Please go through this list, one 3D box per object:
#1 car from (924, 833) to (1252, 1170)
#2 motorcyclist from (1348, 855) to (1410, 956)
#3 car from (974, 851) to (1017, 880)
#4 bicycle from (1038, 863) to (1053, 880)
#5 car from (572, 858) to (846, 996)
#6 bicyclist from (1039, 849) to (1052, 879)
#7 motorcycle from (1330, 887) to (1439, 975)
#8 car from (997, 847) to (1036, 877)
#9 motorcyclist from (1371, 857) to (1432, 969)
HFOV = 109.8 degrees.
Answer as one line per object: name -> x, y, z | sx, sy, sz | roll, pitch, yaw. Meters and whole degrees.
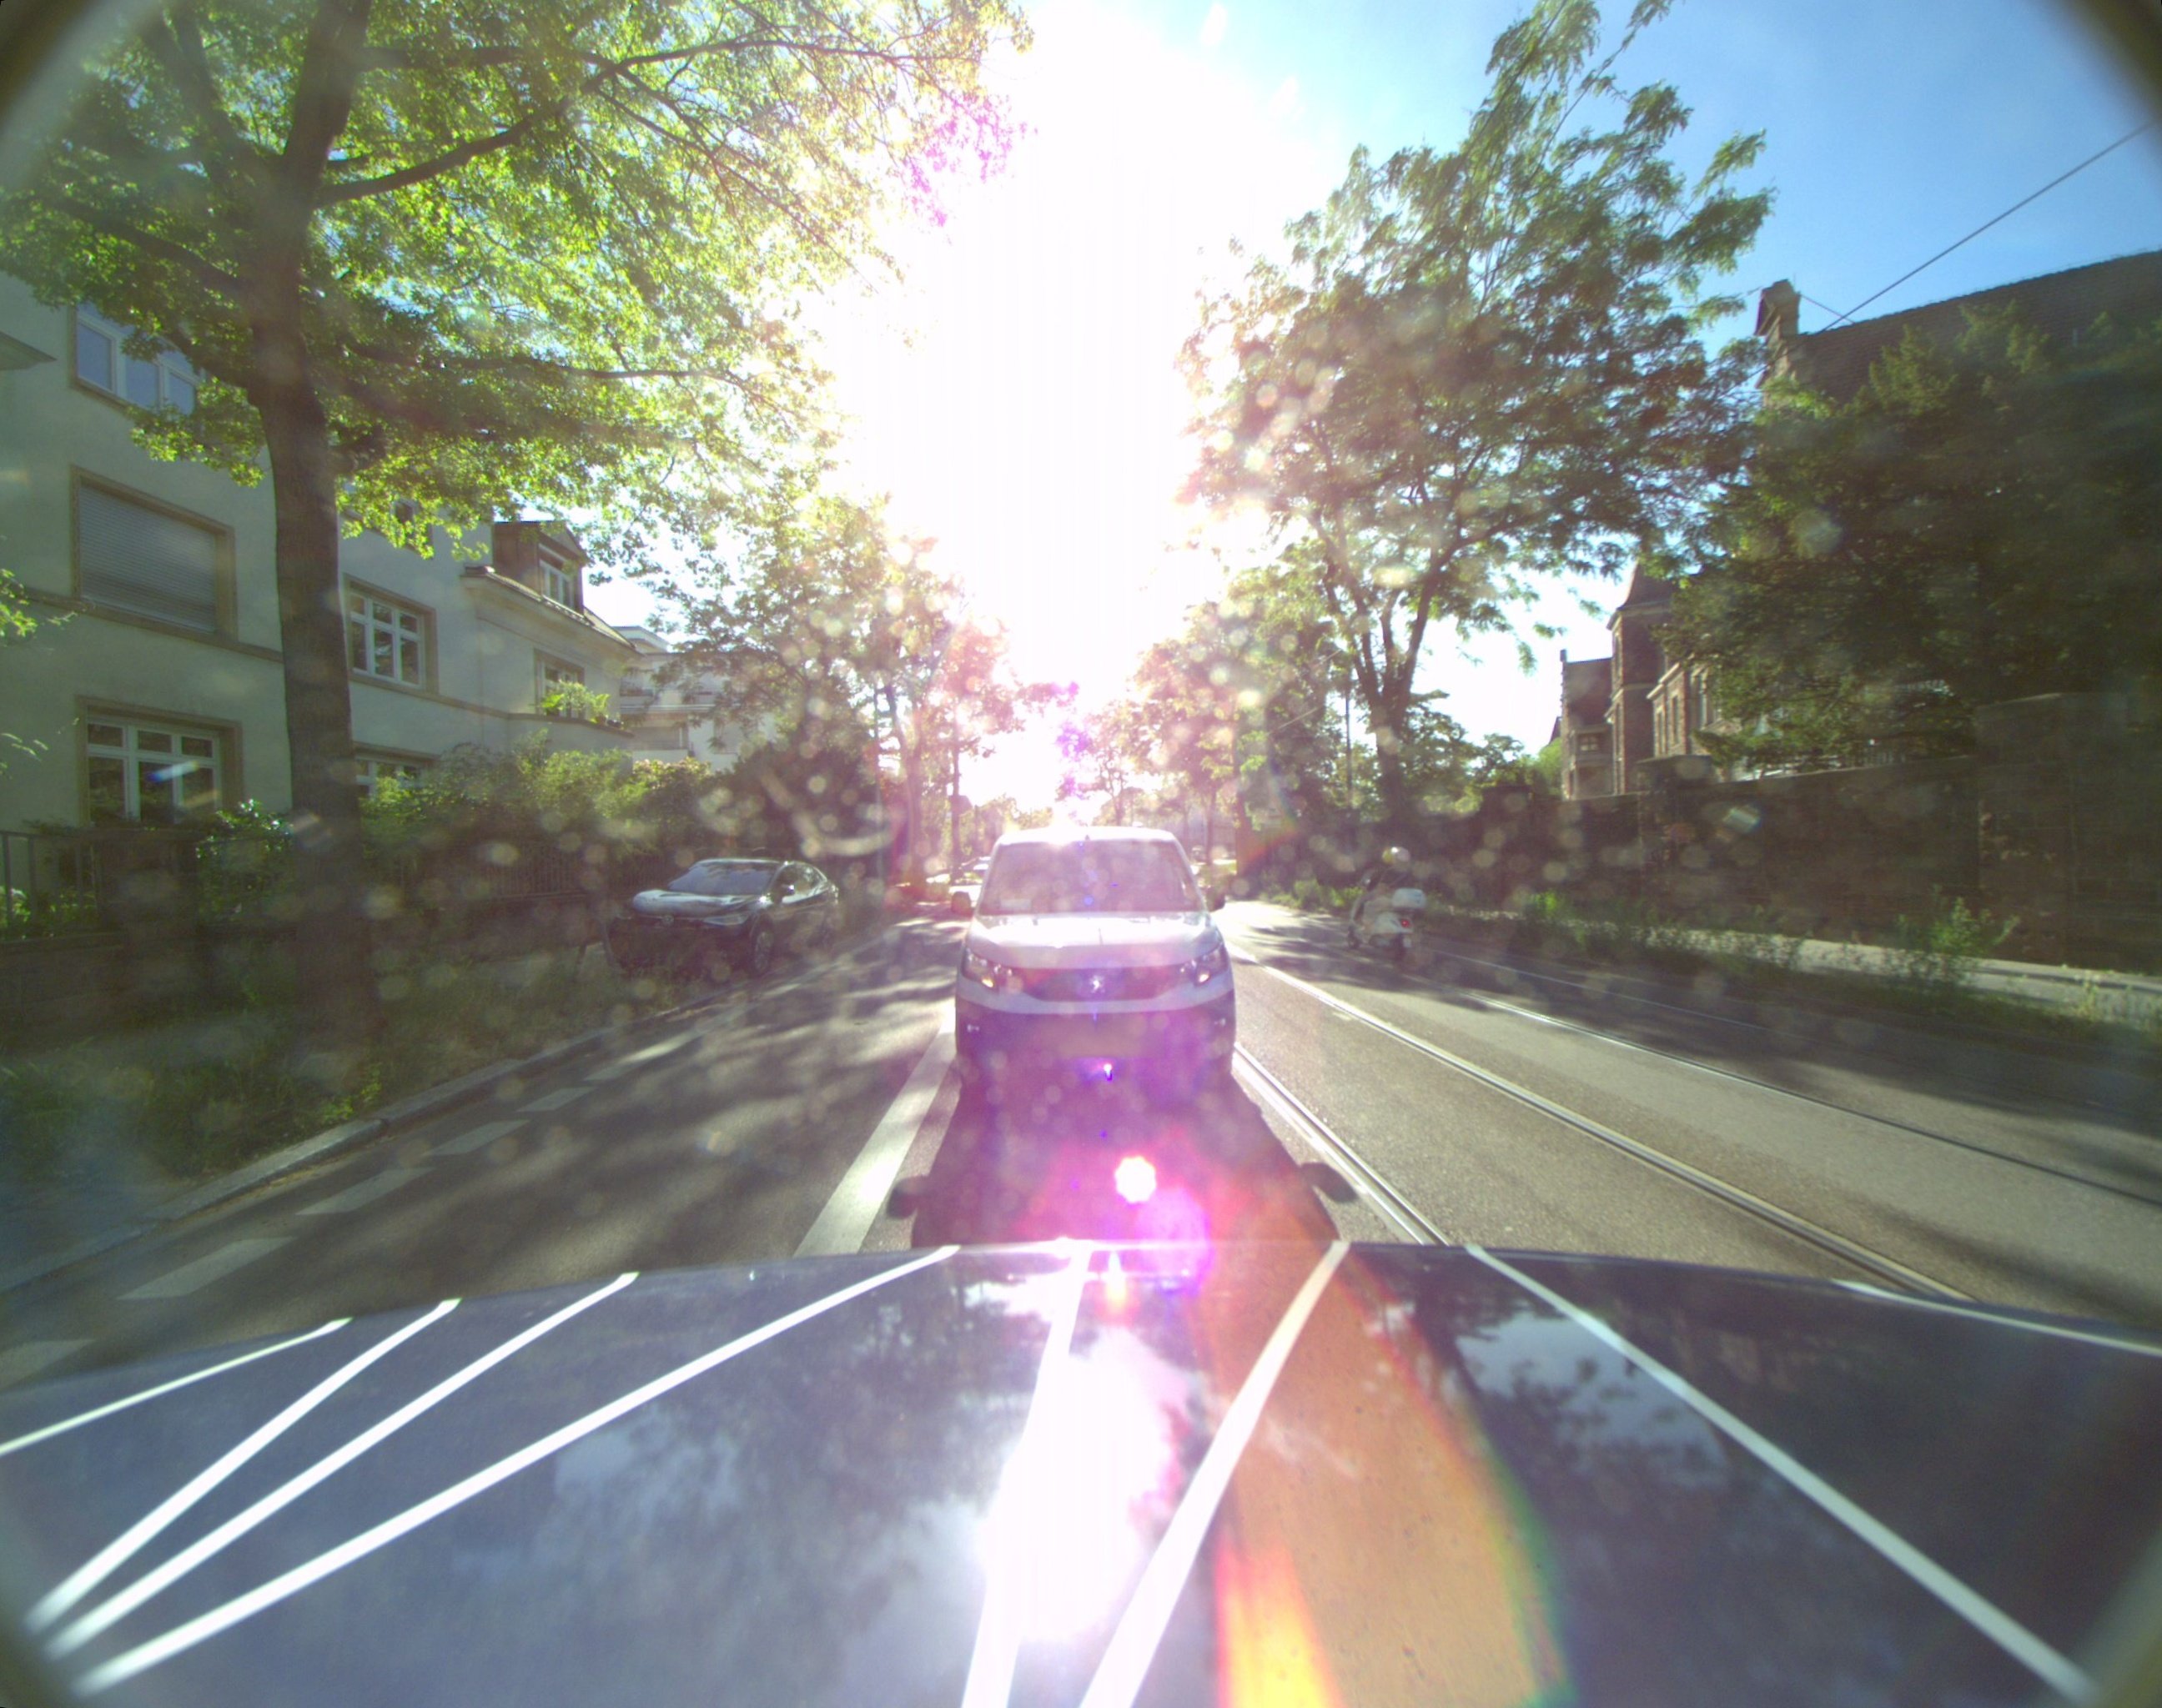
car -> 0.032, 0.796, 6.137 | 1.768, 1.812, 3.999 | -1, 0, 0
motorcyclist -> 4.385, 0.737, 11.190 | 0.686, 1.432, 0.446 | -2, 1, -9
car -> -5.045, 0.656, 45.211 | 1.823, 1.630, 4.001 | -2, 0, 4
bicycle -> -1.973, 0.973, 42.503 | 0.677, 0.920, 1.885 | -2, 0, 1
car -> -5.254, 0.931, 11.538 | 1.999, 1.665, 4.380 | 1, -1, 0
bicyclist -> -1.981, 0.555, 42.508 | 0.677, 1.648, 0.745 | -2, 1, 1
motorcycle -> 4.399, 1.077, 11.171 | 0.611, 1.087, 1.855 | -2, 0, -8
car -> -4.360, 0.498, 51.772 | 2.129, 1.884, 4.746 | -2, 0, 1
motorcyclist -> 4.465, 0.798, 10.600 | 0.608, 1.507, 0.465 | -2, 1, -9
